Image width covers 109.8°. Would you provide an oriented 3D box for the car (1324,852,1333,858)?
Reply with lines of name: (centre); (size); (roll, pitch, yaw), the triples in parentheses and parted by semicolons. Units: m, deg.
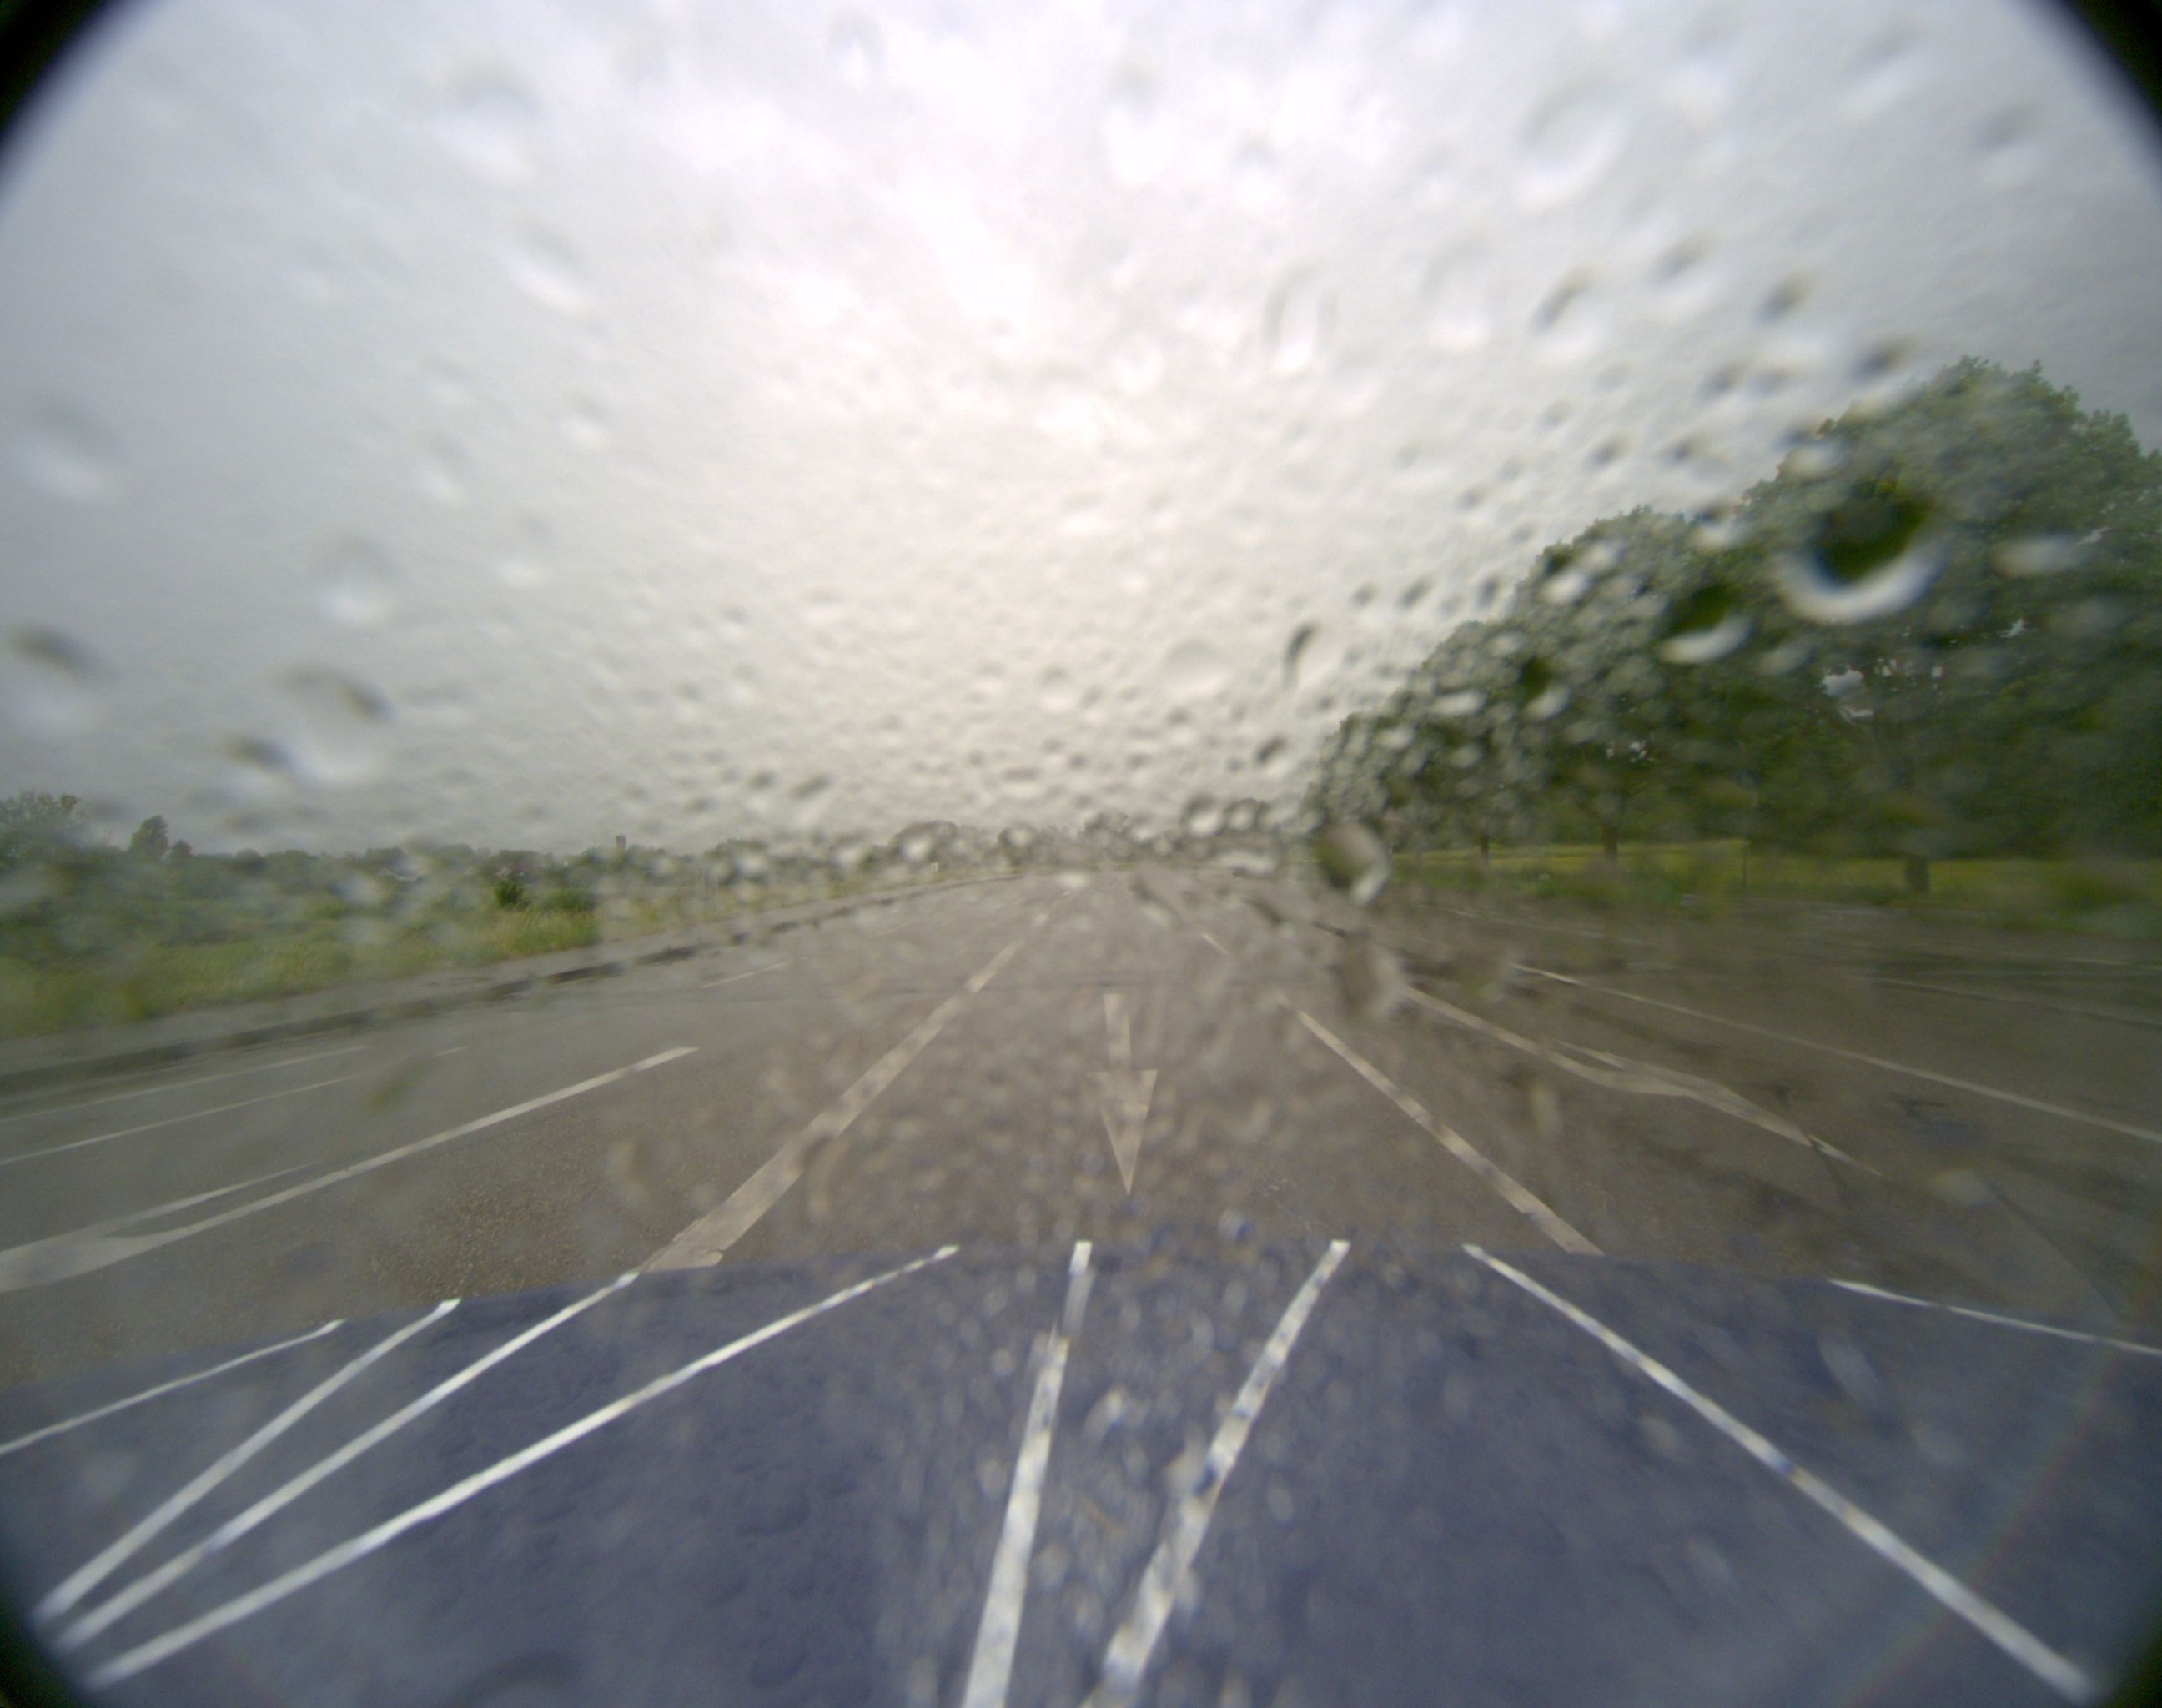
car: (64.616, 0.167, 198.371); (1.880, 1.564, 4.652); (0, 1, 23)
